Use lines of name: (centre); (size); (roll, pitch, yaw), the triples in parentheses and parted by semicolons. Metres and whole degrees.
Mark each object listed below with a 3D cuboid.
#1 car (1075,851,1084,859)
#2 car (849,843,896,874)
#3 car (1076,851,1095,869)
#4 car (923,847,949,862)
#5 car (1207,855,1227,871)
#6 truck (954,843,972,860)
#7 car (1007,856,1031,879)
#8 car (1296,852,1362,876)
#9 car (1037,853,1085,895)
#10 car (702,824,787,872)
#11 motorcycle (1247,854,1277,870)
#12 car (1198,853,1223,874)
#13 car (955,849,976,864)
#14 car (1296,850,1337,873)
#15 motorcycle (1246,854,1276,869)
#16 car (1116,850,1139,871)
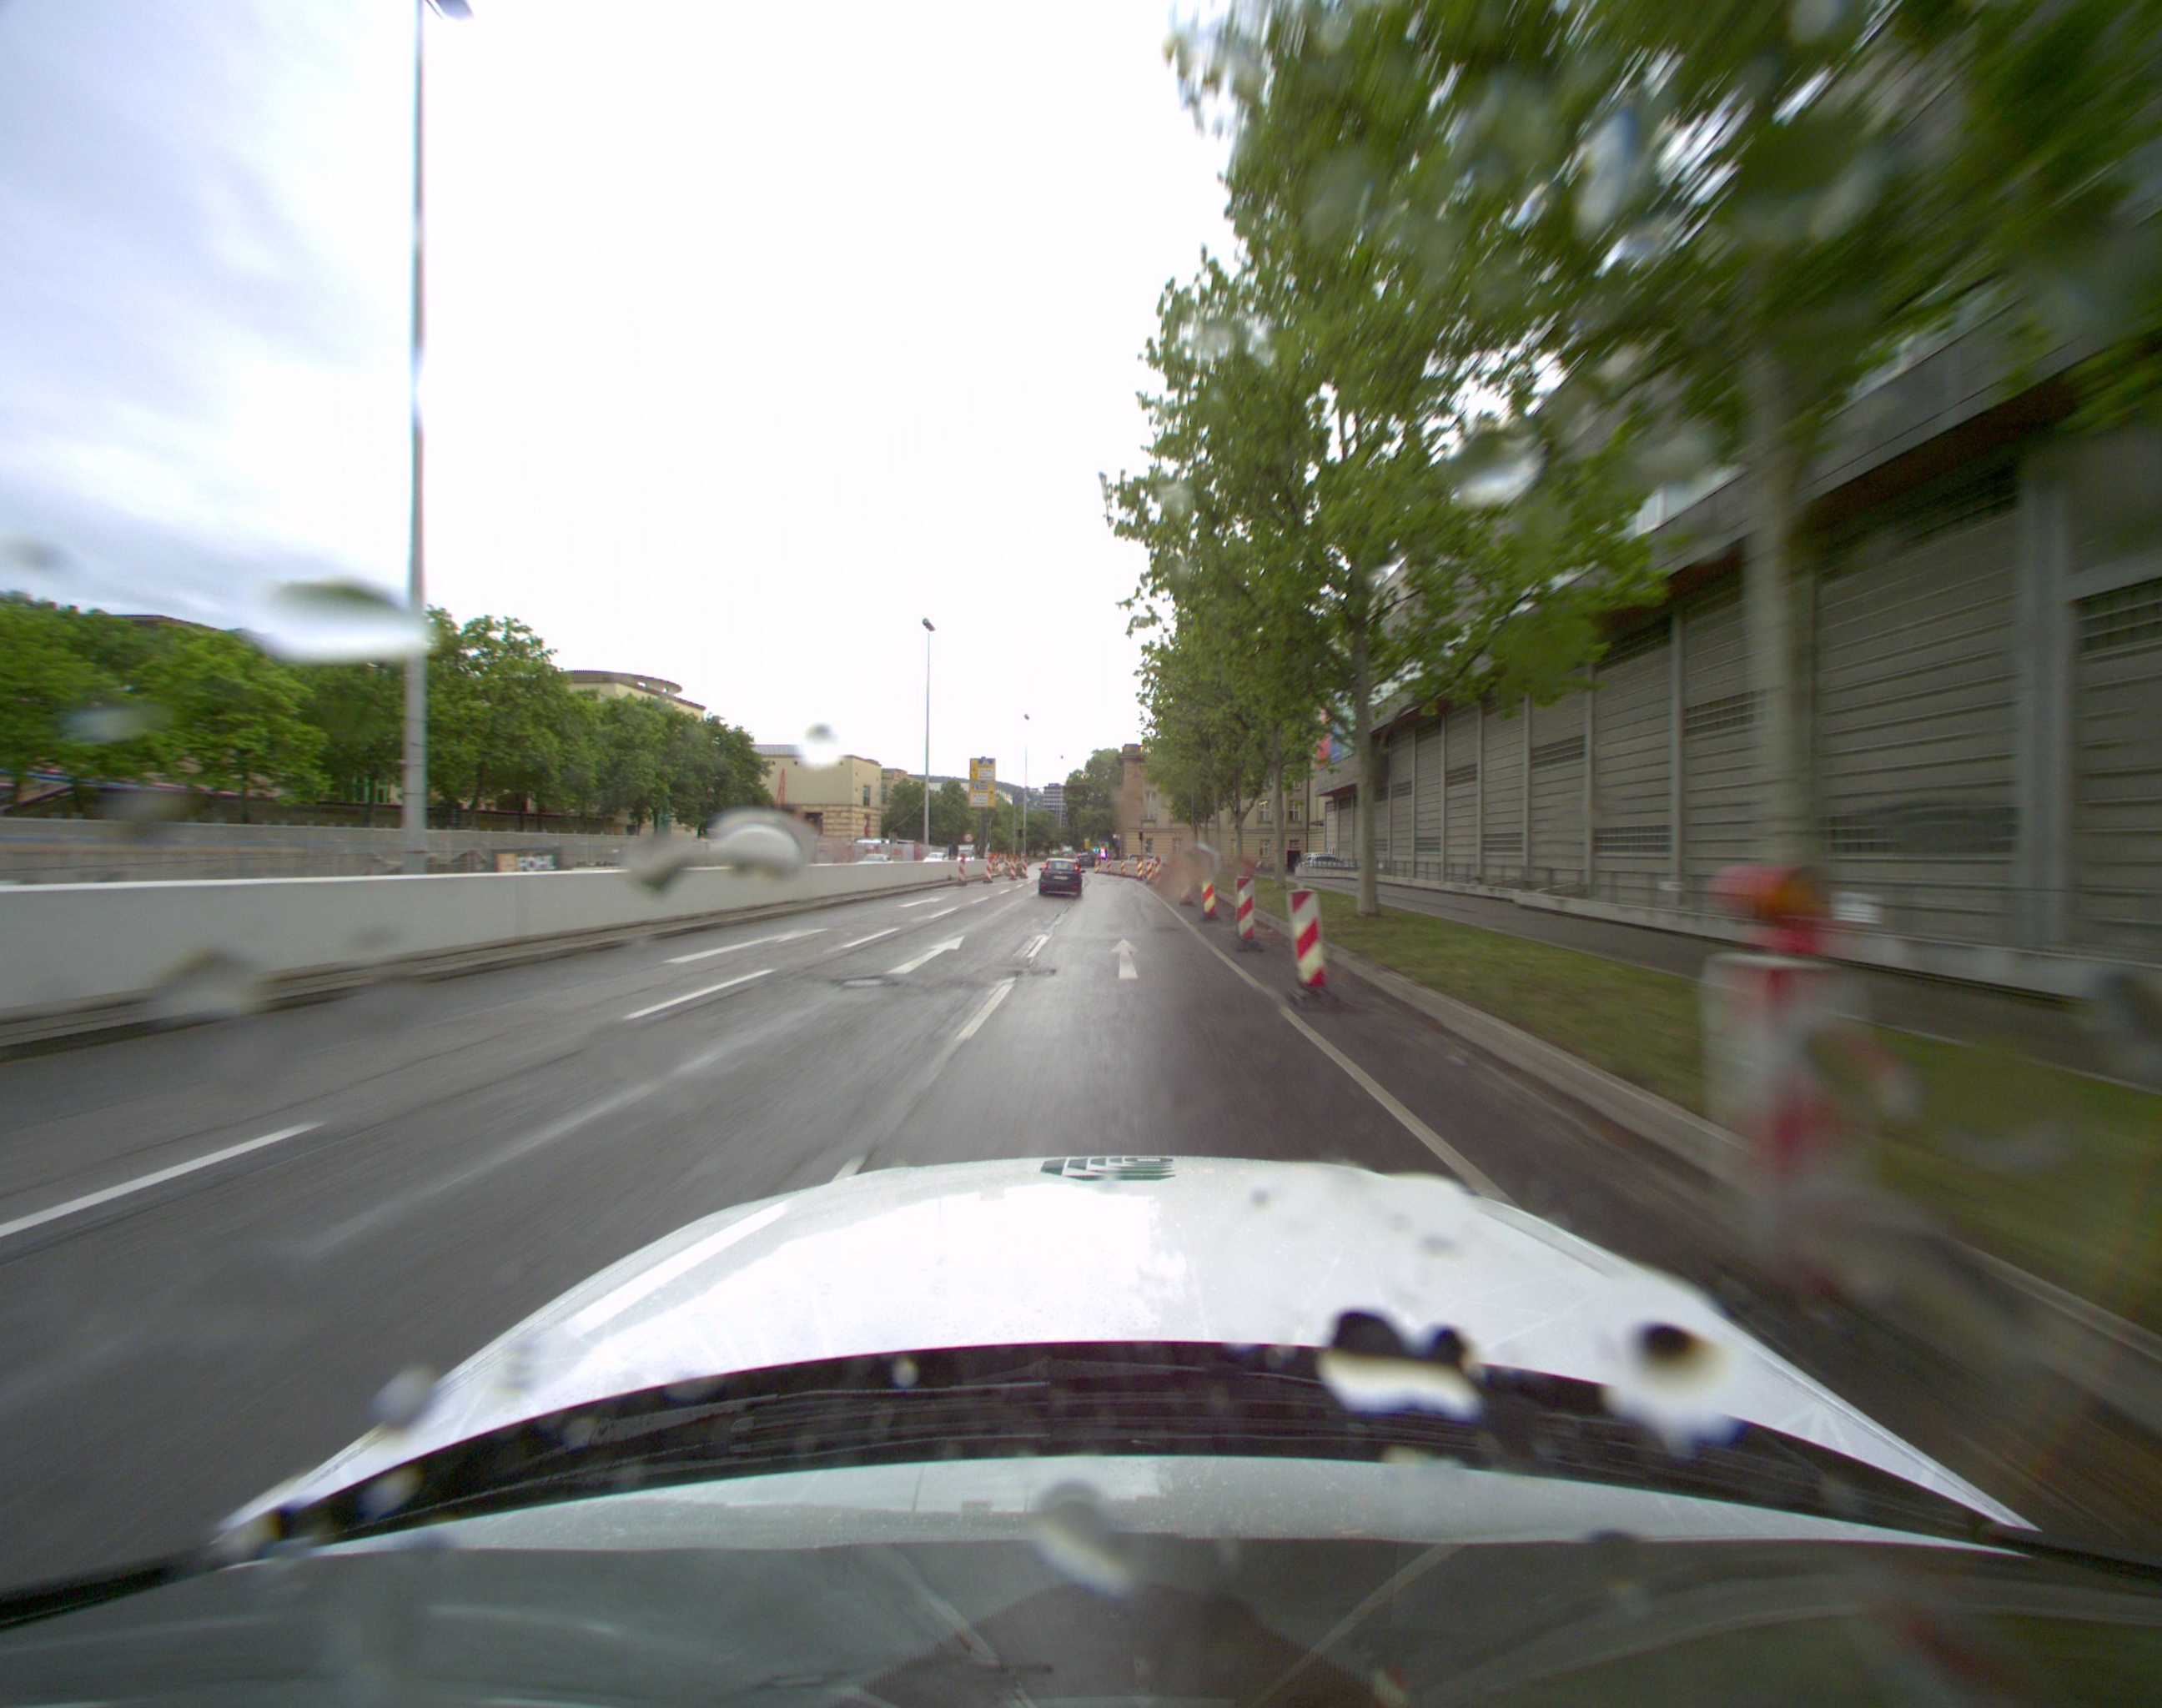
car: (-0.407, 0.336, 213.525); (1.989, 2.014, 3.996); (3, -2, -3)
car: (-14.299, 0.301, 56.143); (1.986, 2.013, 4.002); (2, 0, 2)
car: (0.559, 0.659, 96.161); (1.986, 2.013, 4.002); (2, 1, 2)
car: (-13.029, 0.051, 73.431); (1.620, 1.195, 3.406); (2, 0, 2)
car: (15.479, 1.025, 92.797); (1.983, 1.709, 4.007); (2, -1, 7)
truck: (-17.727, -0.307, 122.757); (2.411, 2.339, 5.430); (3, -2, -7)
car: (-3.948, 0.856, 52.037); (1.382, 1.386, 3.064); (0, -1, -2)
car: (17.178, 0.713, 56.554); (3.971, 1.560, 1.934); (-1, -3, 2)
car: (-0.823, 0.742, 32.212); (1.666, 1.427, 3.754); (4, 0, -2)
car: (-15.249, -0.258, 37.164); (1.986, 2.013, 4.002); (2, 0, 2)
motorcycle: (19.868, 0.854, 89.354); (3.146, 1.543, 0.891); (3, -2, 5)
car: (11.301, 0.812, 71.191); (1.983, 1.708, 4.008); (2, 1, 7)
car: (-12.932, 0.323, 91.218); (1.662, 1.522, 4.000); (3, -1, 1)
car: (18.571, 0.642, 64.469); (1.985, 1.760, 5.100); (0, -1, 3)
motorcycle: (19.984, 0.846, 90.378); (3.145, 1.543, 0.891); (3, -2, 6)
car: (4.105, 0.568, 72.531); (1.986, 1.708, 4.002); (2, 1, 2)
